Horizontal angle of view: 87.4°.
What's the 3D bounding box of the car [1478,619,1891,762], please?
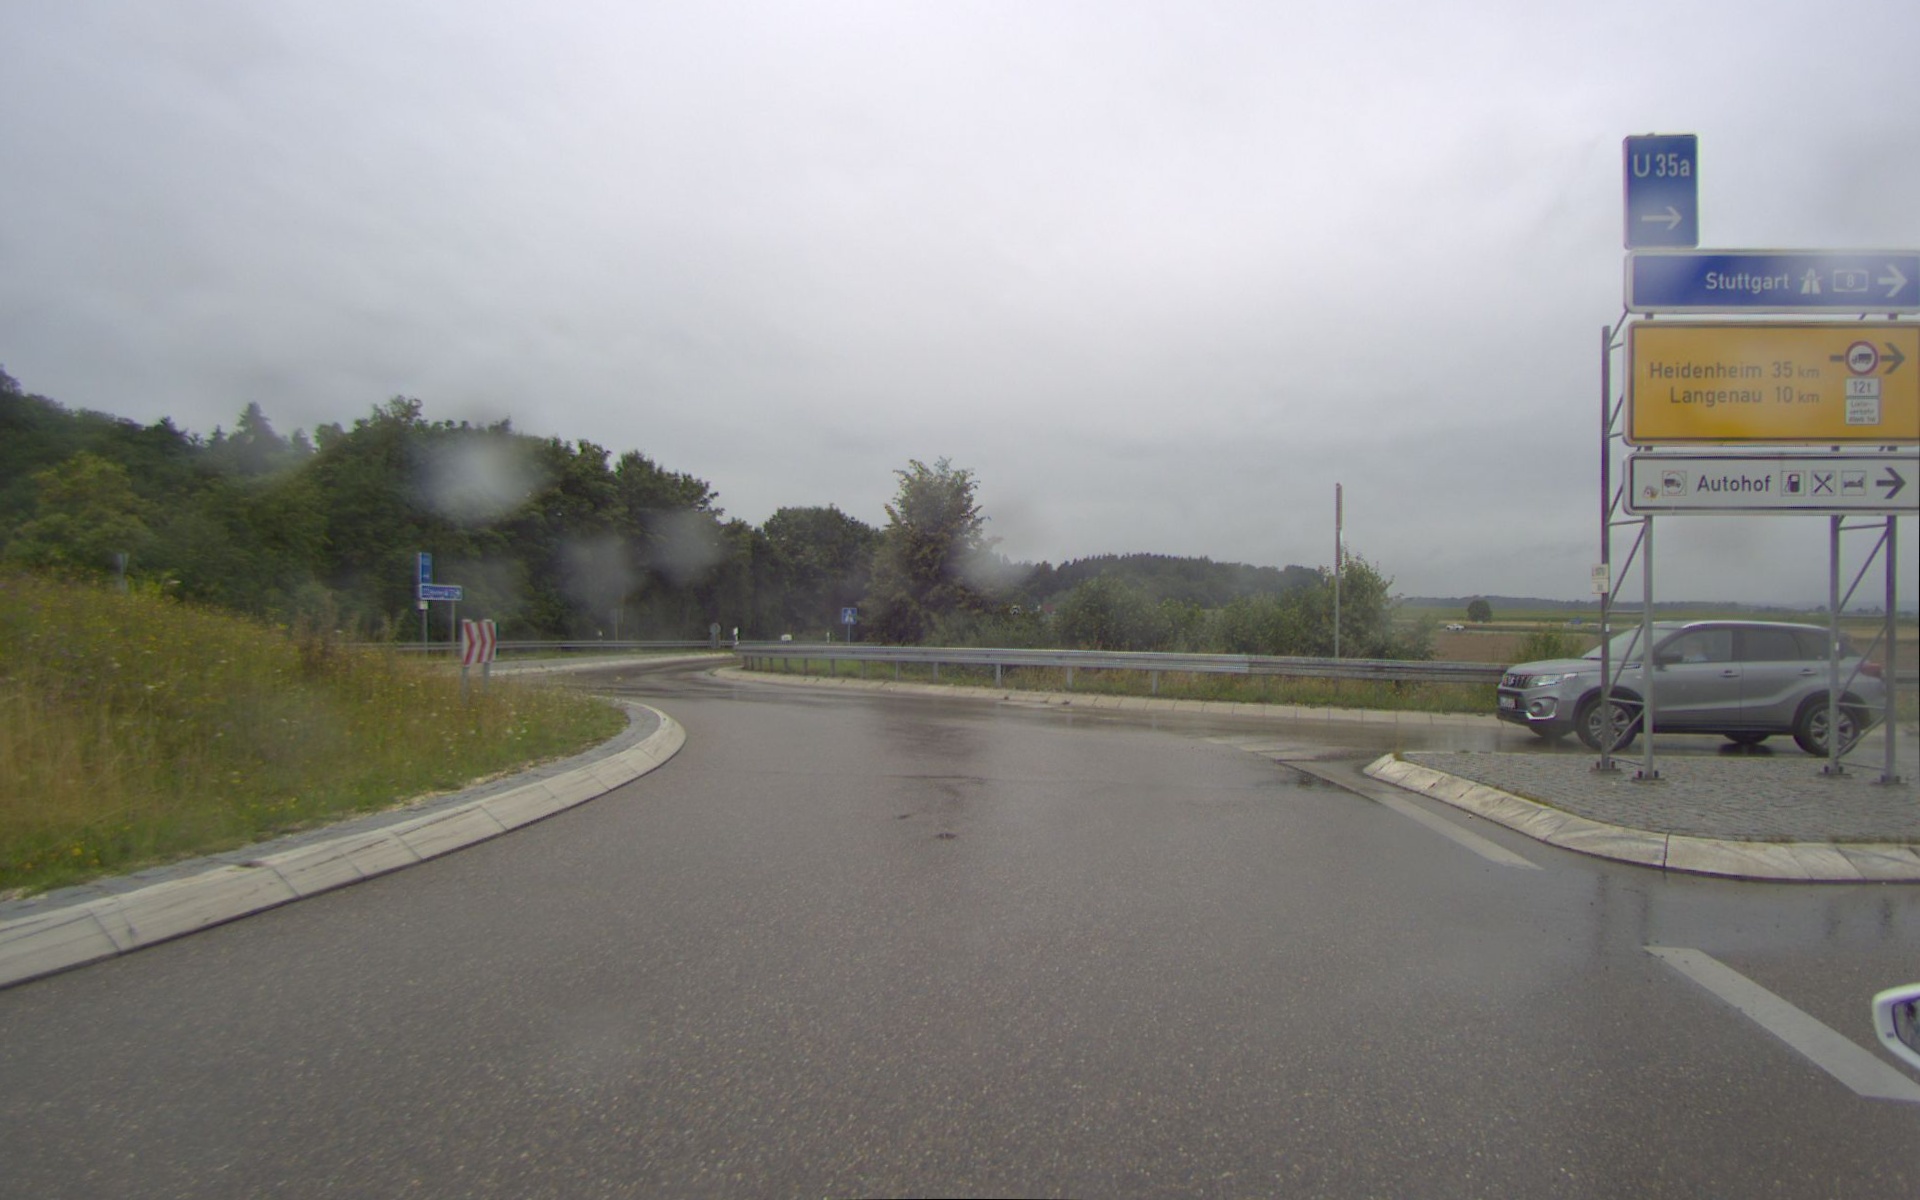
[{"bbox_3d":[9.136,1.090,12.993,3.919,1.596,1.807,1,0,8],"label":"car"}]
